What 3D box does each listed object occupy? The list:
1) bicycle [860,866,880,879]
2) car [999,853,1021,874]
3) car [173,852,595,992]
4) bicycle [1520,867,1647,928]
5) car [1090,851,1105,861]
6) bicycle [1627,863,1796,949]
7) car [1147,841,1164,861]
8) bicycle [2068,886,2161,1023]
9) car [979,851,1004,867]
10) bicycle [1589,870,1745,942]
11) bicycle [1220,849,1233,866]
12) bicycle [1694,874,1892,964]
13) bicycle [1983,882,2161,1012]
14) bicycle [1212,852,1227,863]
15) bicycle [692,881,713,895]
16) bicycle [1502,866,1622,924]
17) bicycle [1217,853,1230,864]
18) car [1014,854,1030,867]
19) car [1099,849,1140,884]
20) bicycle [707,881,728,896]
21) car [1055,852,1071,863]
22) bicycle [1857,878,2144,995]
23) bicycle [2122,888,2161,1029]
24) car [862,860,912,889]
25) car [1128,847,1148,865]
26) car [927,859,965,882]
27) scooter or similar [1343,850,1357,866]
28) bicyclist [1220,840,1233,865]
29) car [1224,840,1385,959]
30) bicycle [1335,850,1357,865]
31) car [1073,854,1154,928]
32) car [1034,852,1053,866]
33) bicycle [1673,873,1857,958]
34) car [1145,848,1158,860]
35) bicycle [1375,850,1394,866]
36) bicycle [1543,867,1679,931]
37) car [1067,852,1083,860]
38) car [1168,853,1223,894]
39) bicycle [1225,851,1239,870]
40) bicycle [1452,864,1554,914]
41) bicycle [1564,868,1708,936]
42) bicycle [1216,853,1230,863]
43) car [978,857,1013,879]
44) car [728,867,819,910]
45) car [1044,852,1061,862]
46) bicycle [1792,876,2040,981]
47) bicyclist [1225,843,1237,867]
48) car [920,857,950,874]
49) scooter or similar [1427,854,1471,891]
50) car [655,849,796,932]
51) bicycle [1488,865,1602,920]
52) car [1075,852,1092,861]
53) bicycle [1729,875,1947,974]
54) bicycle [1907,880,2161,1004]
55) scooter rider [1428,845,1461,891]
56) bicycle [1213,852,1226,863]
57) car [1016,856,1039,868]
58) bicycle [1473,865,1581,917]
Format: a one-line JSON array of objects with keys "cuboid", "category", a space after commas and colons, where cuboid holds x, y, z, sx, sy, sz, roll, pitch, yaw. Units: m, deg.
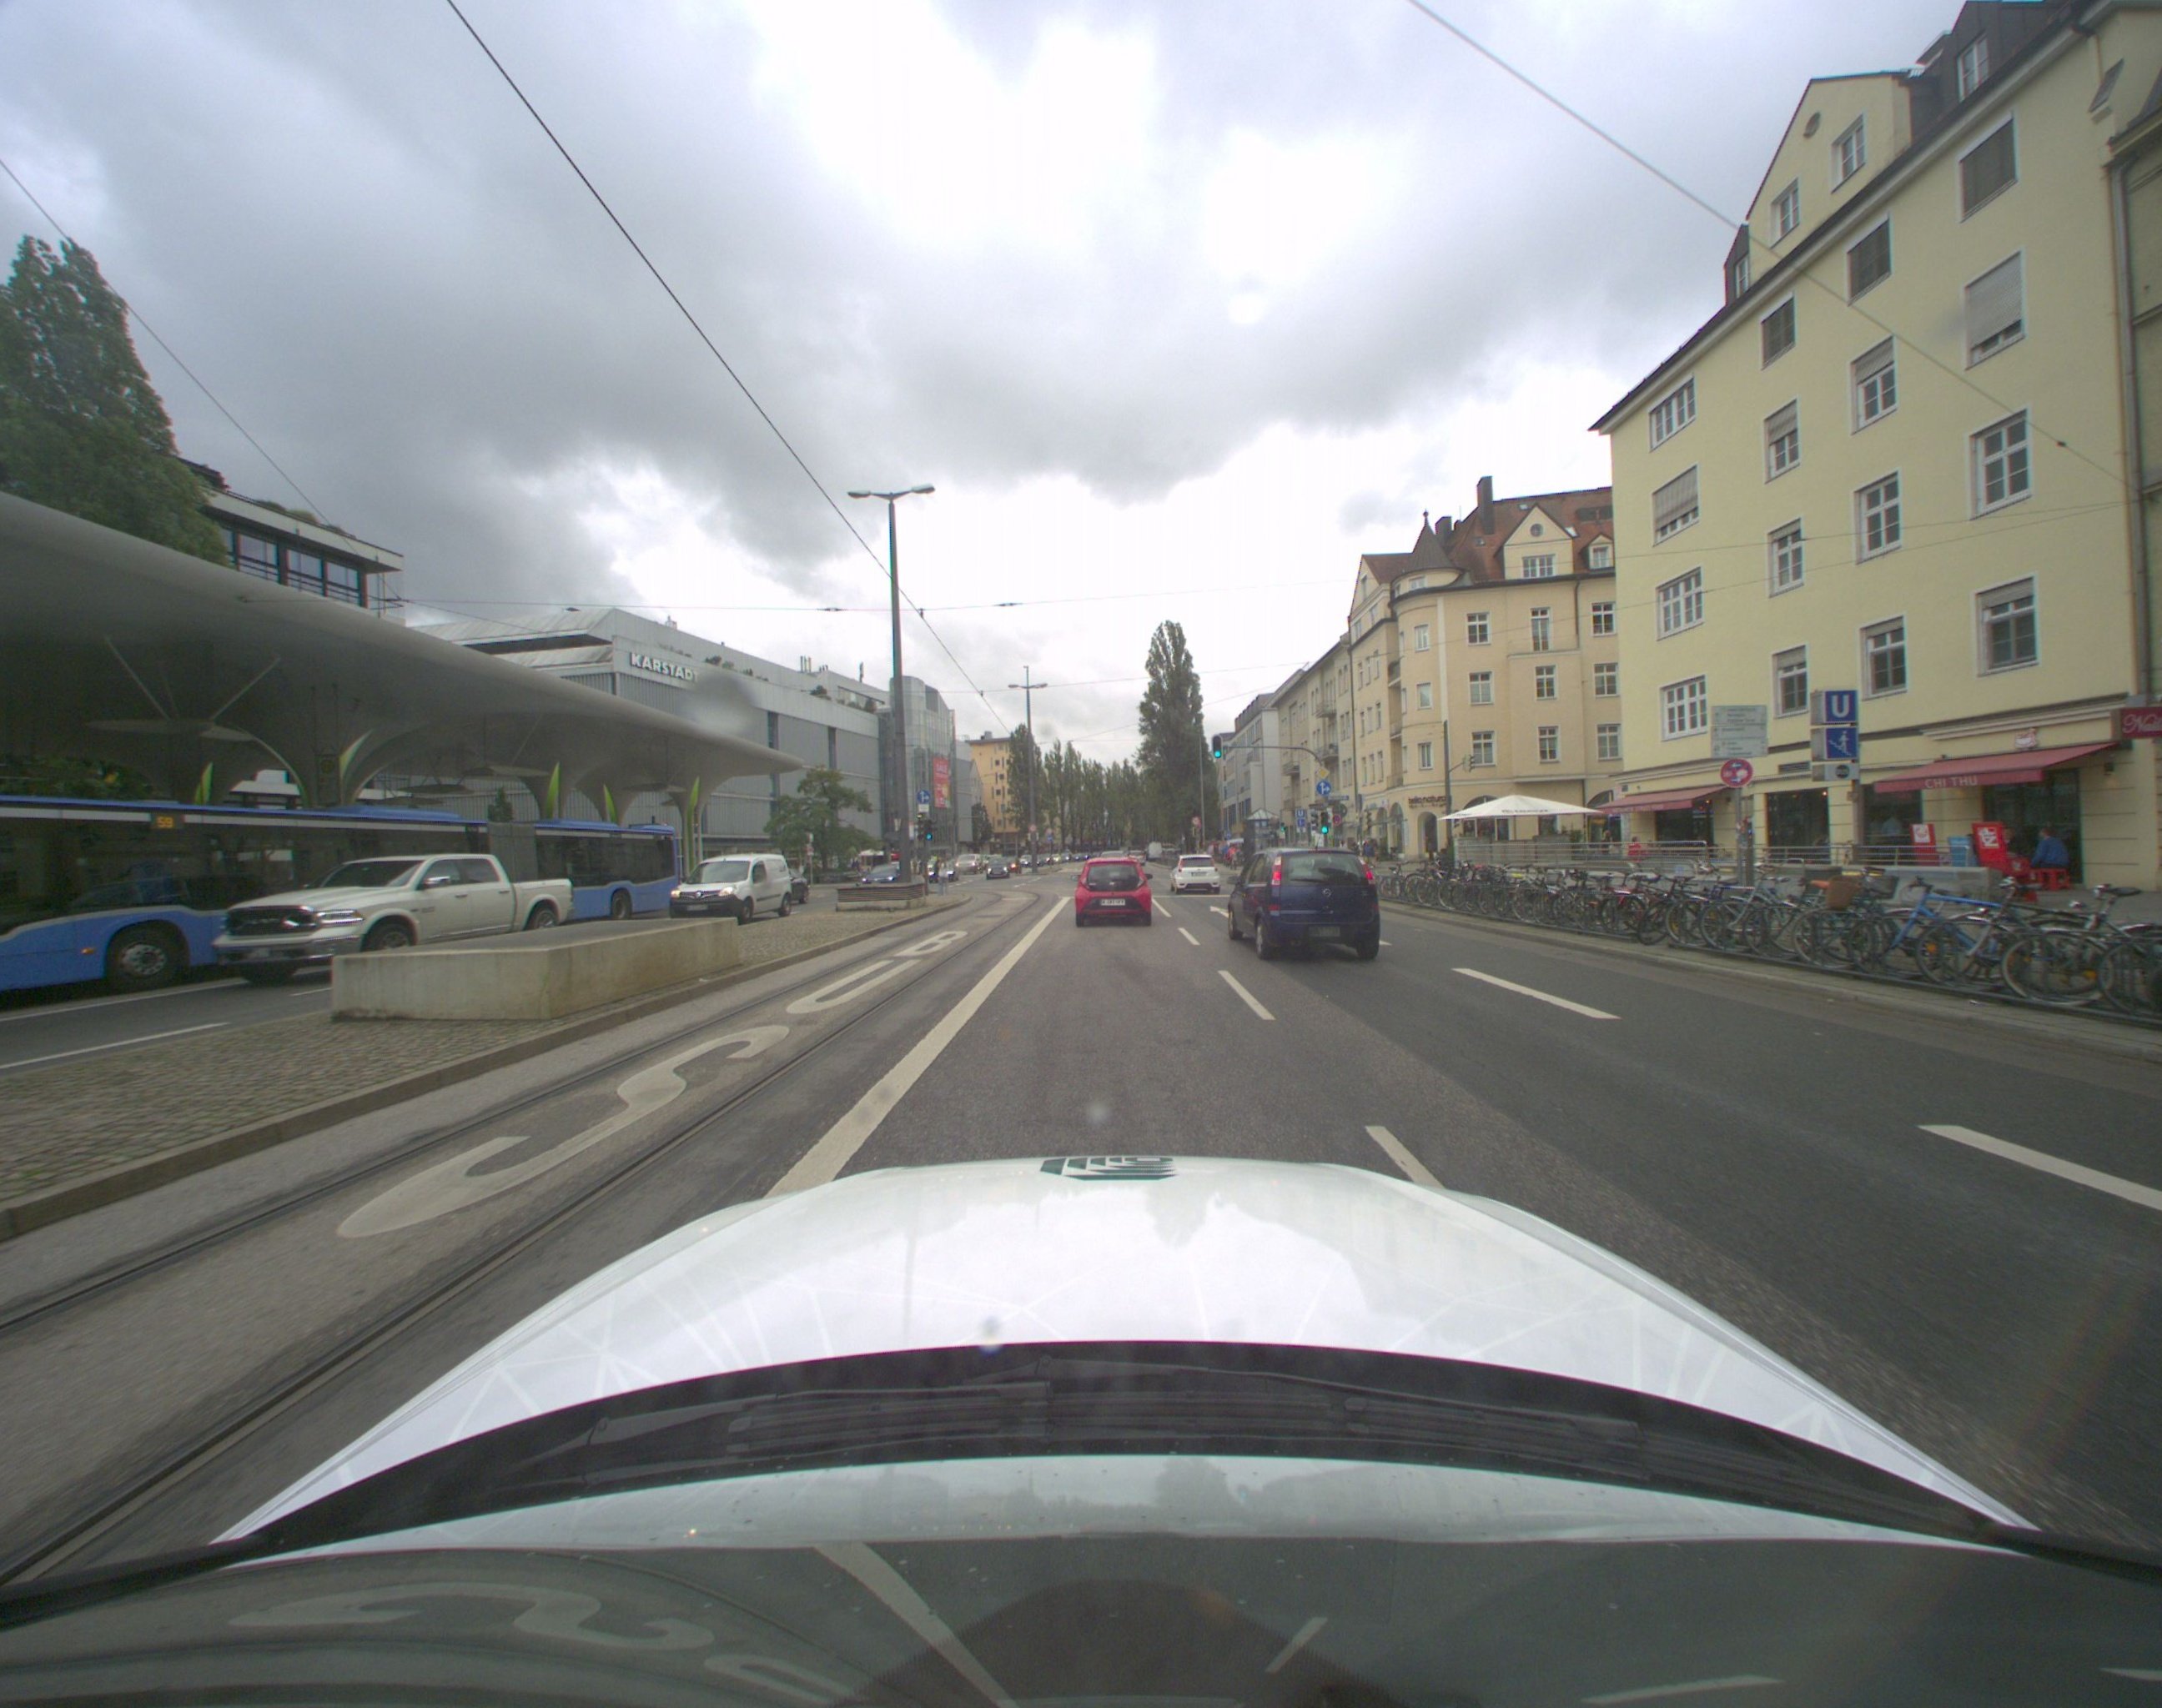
[{"cuboid": [-18.001, 1.570, 69.429, 1.566, 1.112, 0.374, -2, 0, 5], "category": "bicycle"}, {"cuboid": [-5.502, 0.728, 63.002, 1.502, 1.534, 2.830, -2, 0, -7], "category": "car"}, {"cuboid": [-11.666, 0.957, 14.564, 2.168, 1.887, 6.156, -2, 0, 0], "category": "car"}, {"cuboid": [8.744, 0.751, 14.250, 0.350, 0.996, 1.819, -2, -1, -44], "category": "bicycle"}, {"cuboid": [3.258, 0.384, 156.624, 1.981, 1.691, 4.936, -2, 0, 11], "category": "car"}, {"cuboid": [8.768, 0.714, 11.417, 1.818, 1.112, 0.470, -2, 0, 34], "category": "bicycle"}, {"cuboid": [10.285, -0.396, 112.178, 2.098, 2.718, 4.808, -2, 0, 3], "category": "car"}, {"cuboid": [8.581, 0.765, 5.884, 1.819, 0.995, 0.327, 0, 2, 44], "category": "bicycle"}, {"cuboid": [-11.570, 0.714, 105.690, 1.983, 2.014, 5.532, -1, -1, 6], "category": "car"}, {"cuboid": [8.668, 0.757, 12.122, 0.327, 0.996, 1.819, -2, 0, -44], "category": "bicycle"}, {"cuboid": [11.188, 0.284, 62.606, 0.611, 1.265, 2.521, -2, 0, 3], "category": "bicycle"}, {"cuboid": [8.752, 0.763, 10.086, 1.819, 0.995, 0.327, 0, 2, 42], "category": "bicycle"}, {"cuboid": [8.703, 0.760, 6.618, 1.819, 0.995, 0.327, 0, 2, 44], "category": "bicycle"}, {"cuboid": [13.591, 0.356, 79.948, 1.398, 0.963, 0.369, -2, 0, -3], "category": "bicycle"}, {"cuboid": [-27.230, 2.458, 58.634, 0.525, 0.998, 1.987, -2, -2, 3], "category": "bicycle"}, {"cuboid": [8.798, 0.749, 14.967, 0.350, 0.996, 1.819, -2, -1, -44], "category": "bicycle"}, {"cuboid": [13.597, 0.397, 77.603, 1.175, 0.963, 0.370, -2, 0, 6], "category": "bicycle"}, {"cuboid": [-8.134, 0.874, 112.333, 1.692, 1.596, 4.001, -2, 0, 1], "category": "car"}, {"cuboid": [1.953, 0.613, 42.271, 1.986, 1.618, 4.002, -2, 0, 2], "category": "car"}, {"cuboid": [-26.078, 2.458, 58.461, 0.525, 0.998, 1.987, -2, -2, 3], "category": "bicycle"}, {"cuboid": [-2.841, 0.569, 131.235, 1.926, 1.738, 4.598, -1, 0, 7], "category": "car"}, {"cuboid": [8.832, 0.756, 7.930, 1.818, 0.995, 0.327, 0, 1, 39], "category": "bicycle"}, {"cuboid": [8.455, 0.767, 5.445, 0.327, 0.995, 1.820, -2, 2, -41], "category": "bicycle"}, {"cuboid": [-10.718, 1.109, 45.215, 1.672, 1.395, 4.232, -3, 0, 0], "category": "car"}, {"cuboid": [5.977, 0.197, 85.982, 1.986, 1.838, 4.002, -2, 0, 2], "category": "car"}, {"cuboid": [-9.446, 1.132, 57.185, 1.836, 1.416, 4.037, -2, 0, 2], "category": "car"}, {"cuboid": [17.541, 0.233, 53.111, 0.812, 0.994, 0.597, -2, 3, 24], "category": "scooter or similar"}, {"cuboid": [11.175, -0.128, 62.729, 0.759, 1.869, 1.133, -2, 0, 3], "category": "bicyclist"}, {"cuboid": [3.335, 0.614, 12.805, 1.696, 1.589, 3.558, 0, 0, 2], "category": "car"}, {"cuboid": [18.483, 0.252, 56.811, 0.495, 1.059, 1.858, -2, 0, -13], "category": "bicycle"}, {"cuboid": [0.757, 0.757, 18.305, 1.598, 1.461, 3.132, -2, 0, 3], "category": "car"}, {"cuboid": [-5.075, 0.639, 111.105, 1.733, 1.670, 4.742, -3, 0, 8], "category": "car"}, {"cuboid": [8.886, 0.761, 10.660, 1.819, 0.995, 0.327, 0, 2, 42], "category": "bicycle"}, {"cuboid": [10.228, 0.061, 118.253, 1.696, 1.662, 3.558, -2, 0, 2], "category": "car"}, {"cuboid": [21.291, 0.259, 57.141, 0.493, 1.089, 1.864, -2, 0, -3], "category": "bicycle"}, {"cuboid": [8.788, 0.753, 13.559, 1.818, 0.996, 0.350, -3, -1, 42], "category": "bicycle"}, {"cuboid": [-1.038, 0.396, 140.129, 1.833, 1.382, 4.614, -1, -1, 10], "category": "car"}, {"cuboid": [4.325, 0.691, 31.215, 1.693, 1.426, 3.498, -2, 0, 2], "category": "car"}, {"cuboid": [10.545, 0.437, 57.023, 0.611, 1.265, 2.521, -2, 0, 3], "category": "bicycle"}, {"cuboid": [8.828, 0.742, 17.095, 1.818, 0.996, 0.350, -3, -1, 42], "category": "bicycle"}, {"cuboid": [8.739, 0.755, 12.895, 0.350, 0.996, 1.819, -2, -1, -44], "category": "bicycle"}, {"cuboid": [13.613, 0.377, 78.146, 1.177, 0.963, 0.369, -2, 0, 0], "category": "bicycle"}, {"cuboid": [-6.105, 0.967, 57.690, 1.551, 1.445, 3.514, -2, 0, -21], "category": "car"}, {"cuboid": [-11.708, 1.270, 31.350, 1.667, 1.378, 4.614, -2, 0, 1], "category": "car"}, {"cuboid": [-4.173, 0.450, 121.105, 1.756, 1.421, 4.648, -3, 0, 7], "category": "car"}, {"cuboid": [8.817, 0.754, 8.700, 1.818, 0.995, 0.327, 0, 1, 39], "category": "bicycle"}, {"cuboid": [10.533, 0.075, 57.156, 0.611, 1.657, 1.252, -2, 0, 3], "category": "bicyclist"}, {"cuboid": [-14.691, 1.151, 82.231, 1.893, 1.543, 4.396, -2, 0, 3], "category": "car"}, {"cuboid": [11.396, 0.567, 25.240, 0.773, 1.075, 1.256, -2, 0, 0], "category": "scooter or similar"}, {"cuboid": [-9.152, 0.867, 21.408, 1.780, 1.855, 4.217, -3, 0, 0], "category": "car"}, {"cuboid": [8.873, 0.746, 15.629, 1.818, 0.996, 0.350, -3, -1, 42], "category": "bicycle"}, {"cuboid": [0.460, 0.467, 146.367, 1.980, 1.534, 4.603, -2, 0, 12], "category": "car"}, {"cuboid": [8.663, 0.765, 9.395, 0.327, 0.995, 1.819, -2, 2, -43], "category": "bicycle"}, {"cuboid": [8.748, 0.758, 7.329, 1.818, 0.995, 0.327, 0, 1, 39], "category": "bicycle"}, {"cuboid": [11.351, 0.422, 25.416, 0.698, 1.389, 0.643, -2, 0, 0], "category": "scooter rider"}, {"cuboid": [13.774, 0.347, 81.164, 1.228, 0.963, 0.367, -2, 0, -20], "category": "bicycle"}, {"cuboid": [-6.592, 0.953, 100.396, 1.983, 1.411, 4.175, 3, 0, 6], "category": "car"}, {"cuboid": [8.894, 0.745, 16.284, 1.818, 0.996, 0.350, -3, -1, 42], "category": "bicycle"}]
